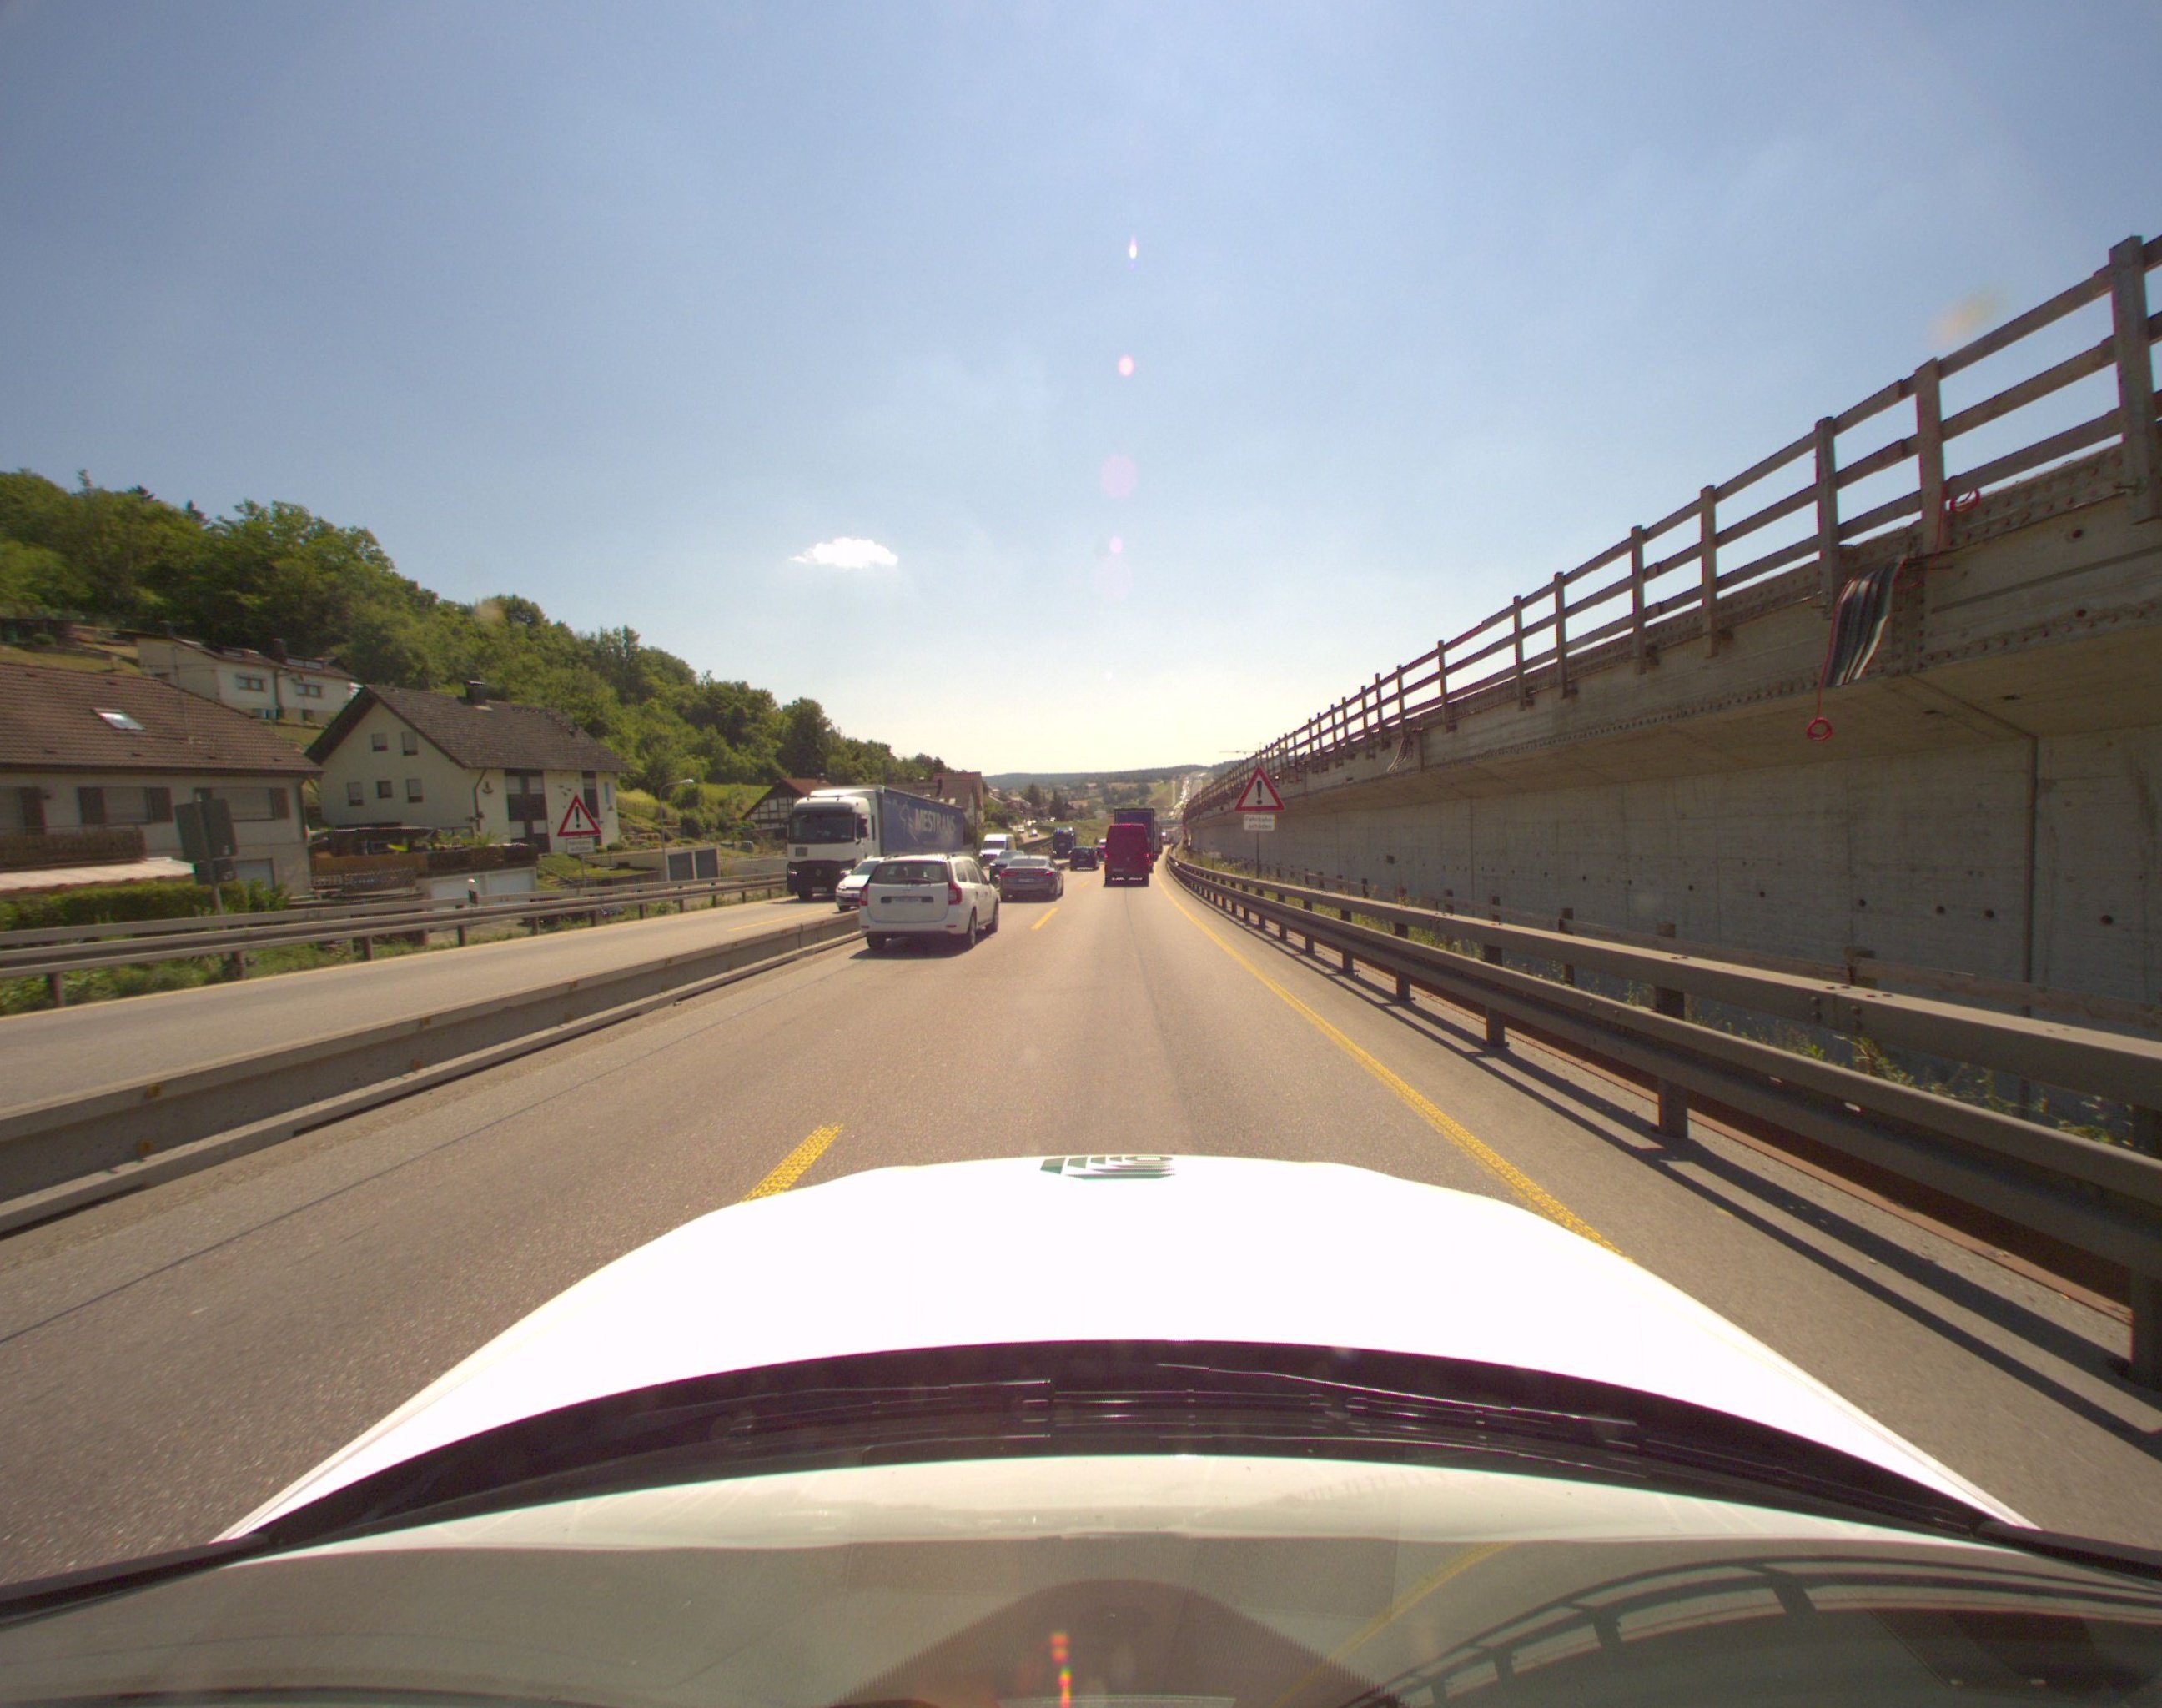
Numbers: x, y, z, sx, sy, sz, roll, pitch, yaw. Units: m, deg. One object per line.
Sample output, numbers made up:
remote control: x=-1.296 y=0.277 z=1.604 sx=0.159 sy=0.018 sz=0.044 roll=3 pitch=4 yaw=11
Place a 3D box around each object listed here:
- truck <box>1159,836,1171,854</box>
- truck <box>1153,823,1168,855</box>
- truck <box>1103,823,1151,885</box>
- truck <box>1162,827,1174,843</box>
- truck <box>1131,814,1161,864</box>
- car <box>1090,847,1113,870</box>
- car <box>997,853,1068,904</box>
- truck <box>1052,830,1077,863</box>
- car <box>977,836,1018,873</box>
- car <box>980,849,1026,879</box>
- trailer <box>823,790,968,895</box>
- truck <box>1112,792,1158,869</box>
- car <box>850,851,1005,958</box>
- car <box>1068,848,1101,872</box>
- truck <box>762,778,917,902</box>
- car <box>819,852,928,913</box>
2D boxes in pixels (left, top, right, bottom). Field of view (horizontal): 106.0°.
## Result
truck: x=22.798 y=-2.425 z=220.423 sx=3.053 sy=4.381 sz=8.572 roll=-1 pitch=-1 yaw=7
truck: x=11.415 y=-2.075 z=116.829 sx=1.983 sy=4.381 sz=4.007 roll=-1 pitch=-1 yaw=7
truck: x=2.068 y=0.025 z=36.482 sx=1.985 sy=2.579 sz=4.003 roll=-1 pitch=-1 yaw=3
truck: x=25.924 y=-5.712 z=242.009 sx=3.449 sy=4.381 sz=8.572 roll=-1 pitch=-1 yaw=7
truck: x=6.846 y=-1.431 z=85.593 sx=2.773 sy=4.816 sz=9.696 roll=-1 pitch=-1 yaw=5
car: x=1.788 y=0.421 z=69.638 sx=1.721 sy=1.838 sz=4.006 roll=-1 pitch=-1 yaw=5
car: x=-1.501 y=0.771 z=26.619 sx=1.787 sy=1.485 sz=4.053 roll=2 pitch=-1 yaw=3
truck: x=-1.977 y=-0.931 z=102.042 sx=2.496 sy=3.965 sz=5.182 roll=-1 pitch=-1 yaw=5
car: x=-6.284 y=0.019 z=62.057 sx=1.996 sy=2.603 sz=5.987 roll=-1 pitch=0 yaw=4
car: x=-4.261 y=0.497 z=45.208 sx=1.843 sy=1.546 sz=4.563 roll=-1 pitch=0 yaw=3
trailer: x=-8.133 y=-0.473 z=38.010 sx=3.121 sy=4.079 sz=11.833 roll=-1 pitch=0 yaw=4
truck: x=3.795 y=-1.403 z=56.121 sx=2.773 sy=4.816 sz=9.696 roll=-1 pitch=-1 yaw=5
car: x=-2.487 y=0.775 z=14.256 sx=1.645 sy=1.483 sz=4.269 roll=-3 pitch=-1 yaw=2
car: x=0.285 y=0.429 z=56.119 sx=1.800 sy=1.608 sz=3.726 roll=-1 pitch=-1 yaw=7
truck: x=-8.766 y=-0.472 z=30.634 sx=3.120 sy=4.079 sz=6.889 roll=-1 pitch=0 yaw=5
car: x=-5.802 y=0.738 z=23.268 sx=1.663 sy=1.535 sz=4.196 roll=-2 pitch=0 yaw=5
